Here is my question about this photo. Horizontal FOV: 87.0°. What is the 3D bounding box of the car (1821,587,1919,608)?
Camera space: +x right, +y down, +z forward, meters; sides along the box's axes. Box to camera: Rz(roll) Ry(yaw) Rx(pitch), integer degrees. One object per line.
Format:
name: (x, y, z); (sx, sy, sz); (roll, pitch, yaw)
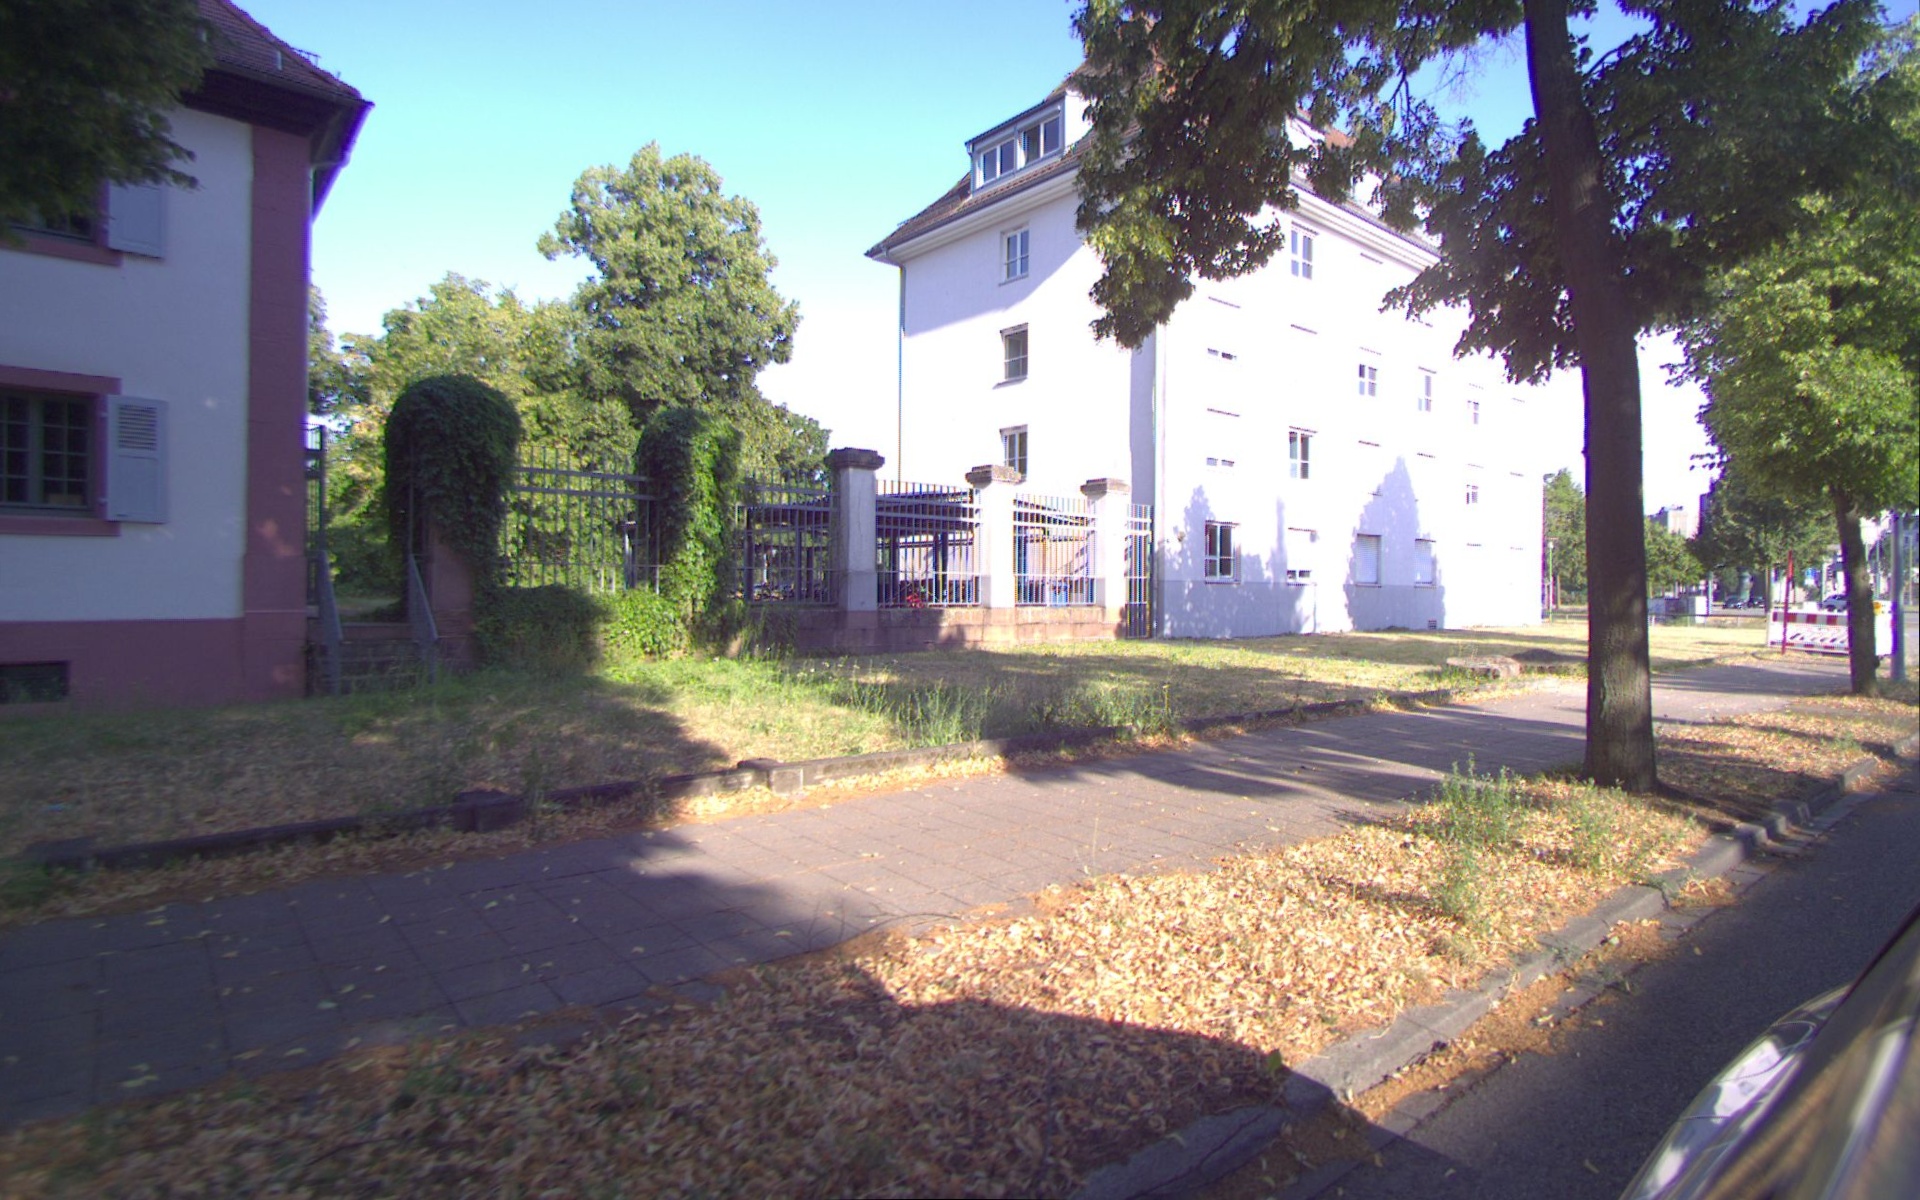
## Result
car: (62.041, -0.186, 69.084); (2.051, 1.401, 4.599); (0, 1, -14)
